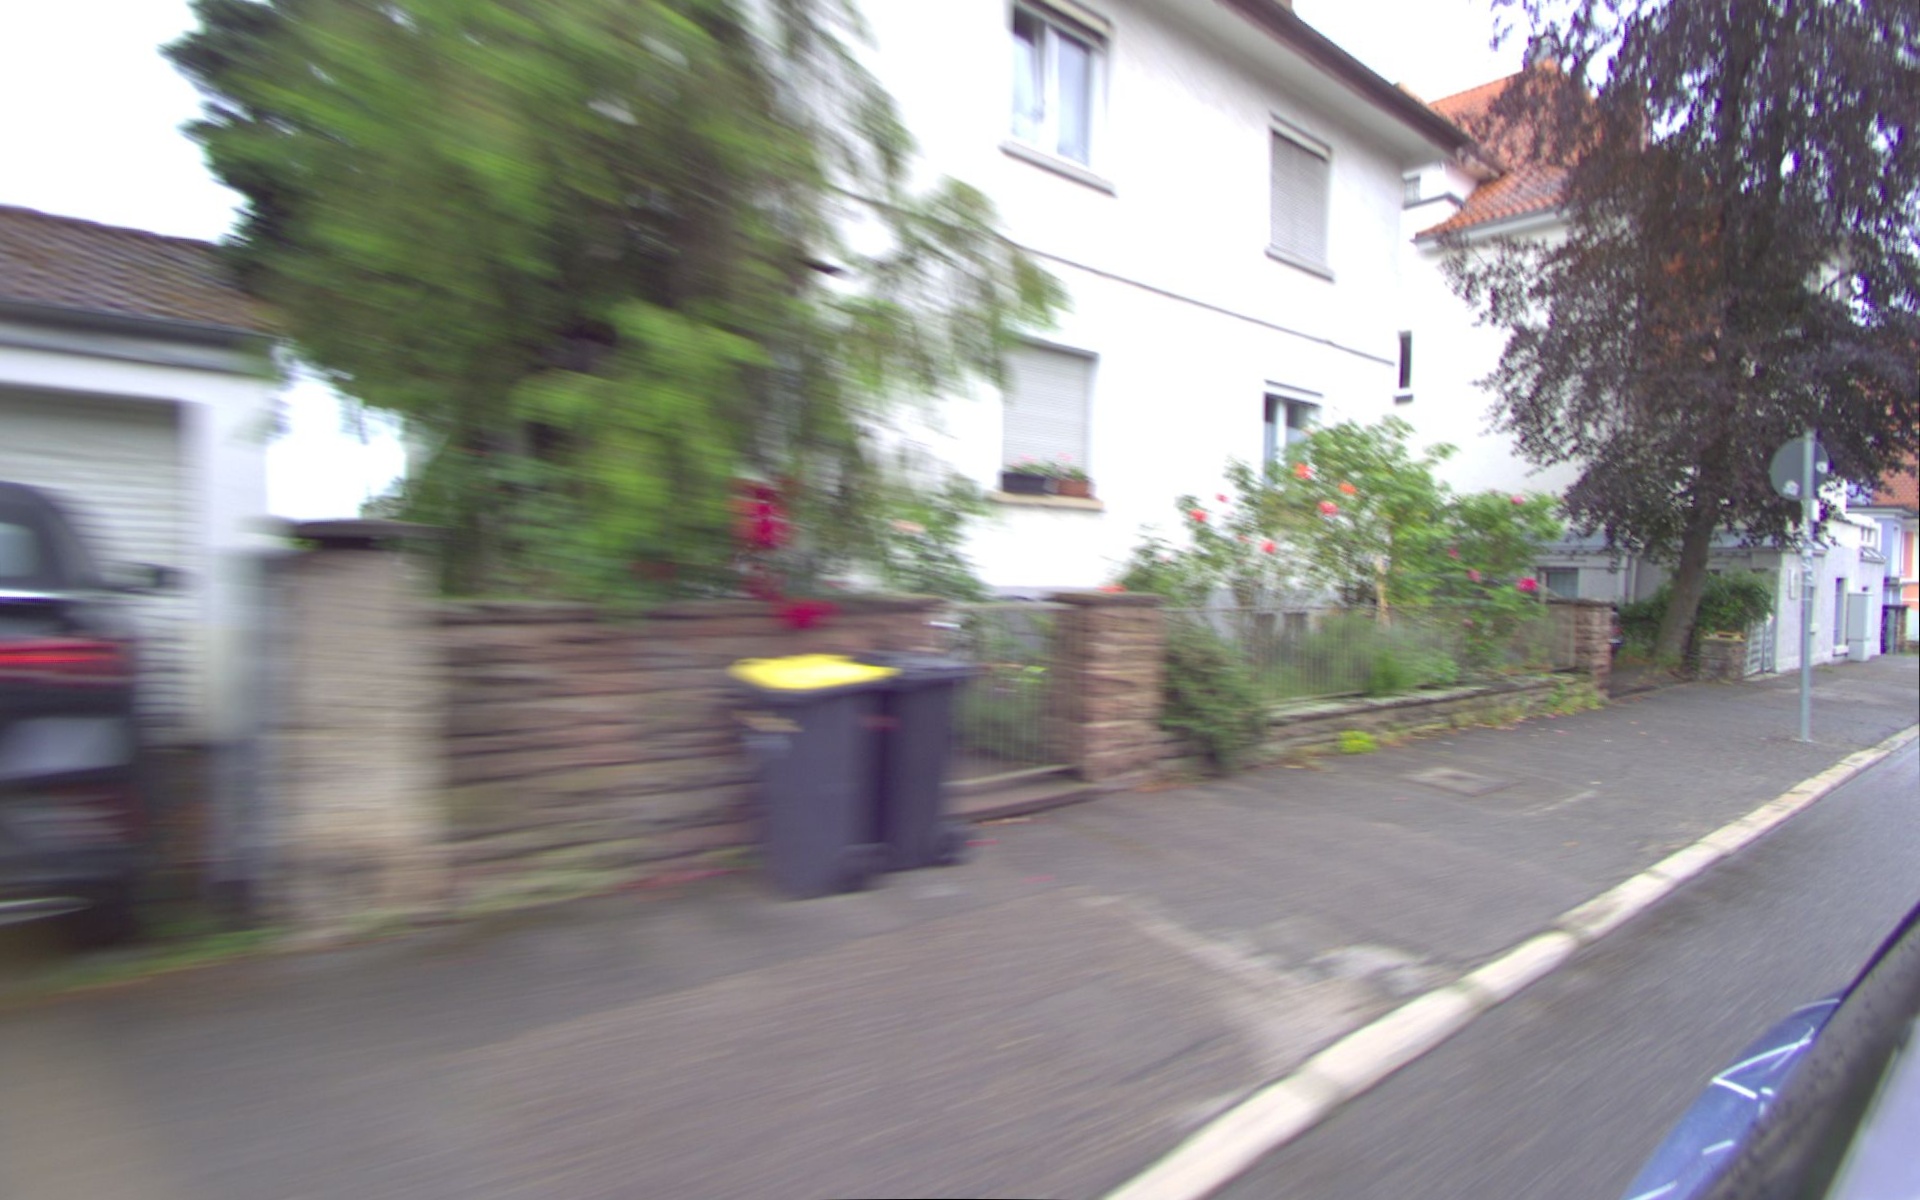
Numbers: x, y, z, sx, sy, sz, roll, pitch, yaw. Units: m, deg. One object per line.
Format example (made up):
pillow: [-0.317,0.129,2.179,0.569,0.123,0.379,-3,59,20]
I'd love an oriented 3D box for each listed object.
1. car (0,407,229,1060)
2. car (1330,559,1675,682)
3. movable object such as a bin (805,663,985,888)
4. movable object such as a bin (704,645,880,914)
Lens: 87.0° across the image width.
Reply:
car: [-4.088,0.289,3.791,1.884,1.660,3.995,2,0,-40]
car: [7.963,0.179,15.195,1.941,1.503,4.160,-4,4,-36]
movable object such as a bin: [-0.297,0.744,4.554,0.494,0.866,0.652,2,0,-42]
movable object such as a bin: [-0.686,0.683,4.124,0.494,0.968,0.495,2,0,-42]
